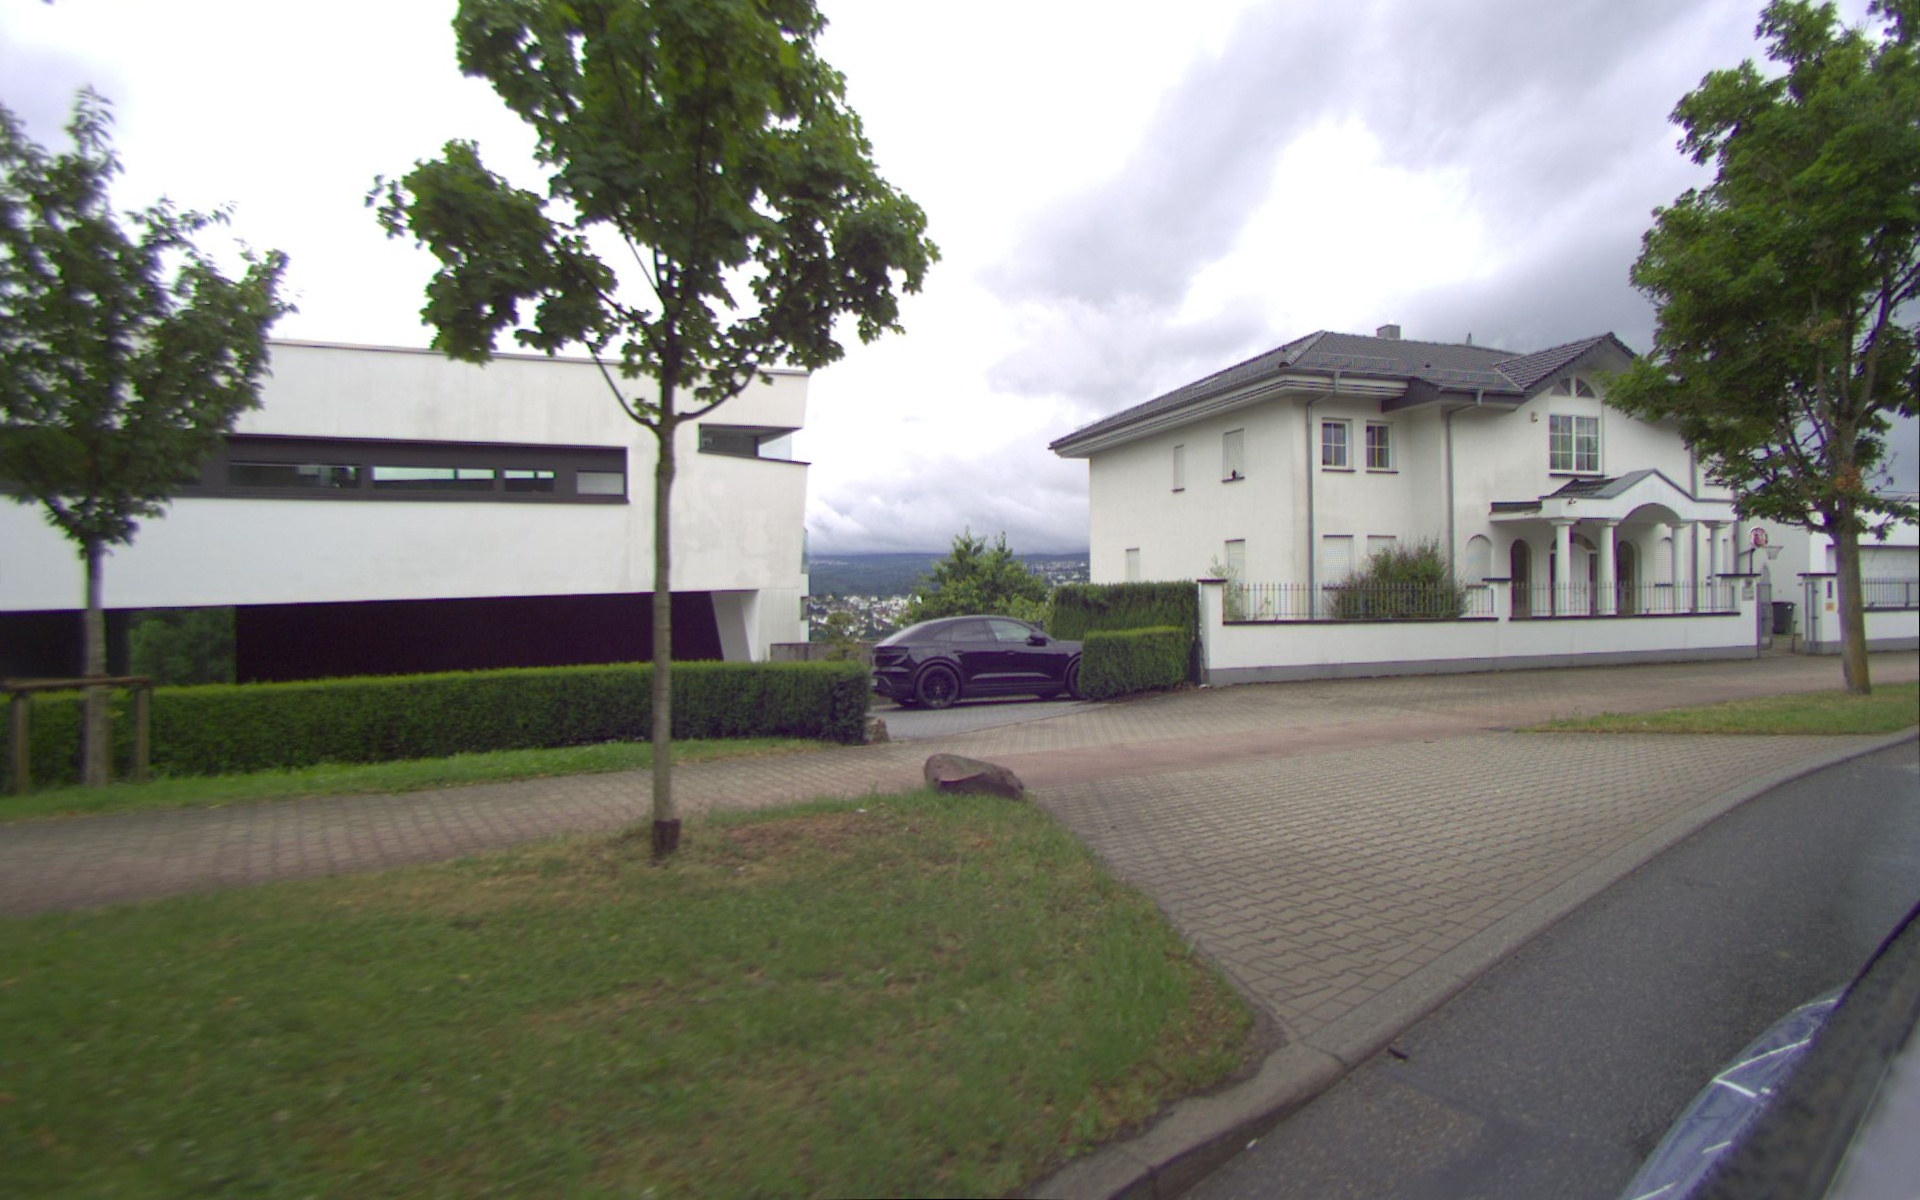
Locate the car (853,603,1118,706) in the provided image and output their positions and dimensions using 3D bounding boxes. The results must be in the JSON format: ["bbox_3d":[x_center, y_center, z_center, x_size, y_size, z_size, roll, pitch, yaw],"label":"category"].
[{"bbox_3d":[0.438,0.941,18.382,4.367,1.570,1.930,-2,-2,-20],"label":"car"}]
